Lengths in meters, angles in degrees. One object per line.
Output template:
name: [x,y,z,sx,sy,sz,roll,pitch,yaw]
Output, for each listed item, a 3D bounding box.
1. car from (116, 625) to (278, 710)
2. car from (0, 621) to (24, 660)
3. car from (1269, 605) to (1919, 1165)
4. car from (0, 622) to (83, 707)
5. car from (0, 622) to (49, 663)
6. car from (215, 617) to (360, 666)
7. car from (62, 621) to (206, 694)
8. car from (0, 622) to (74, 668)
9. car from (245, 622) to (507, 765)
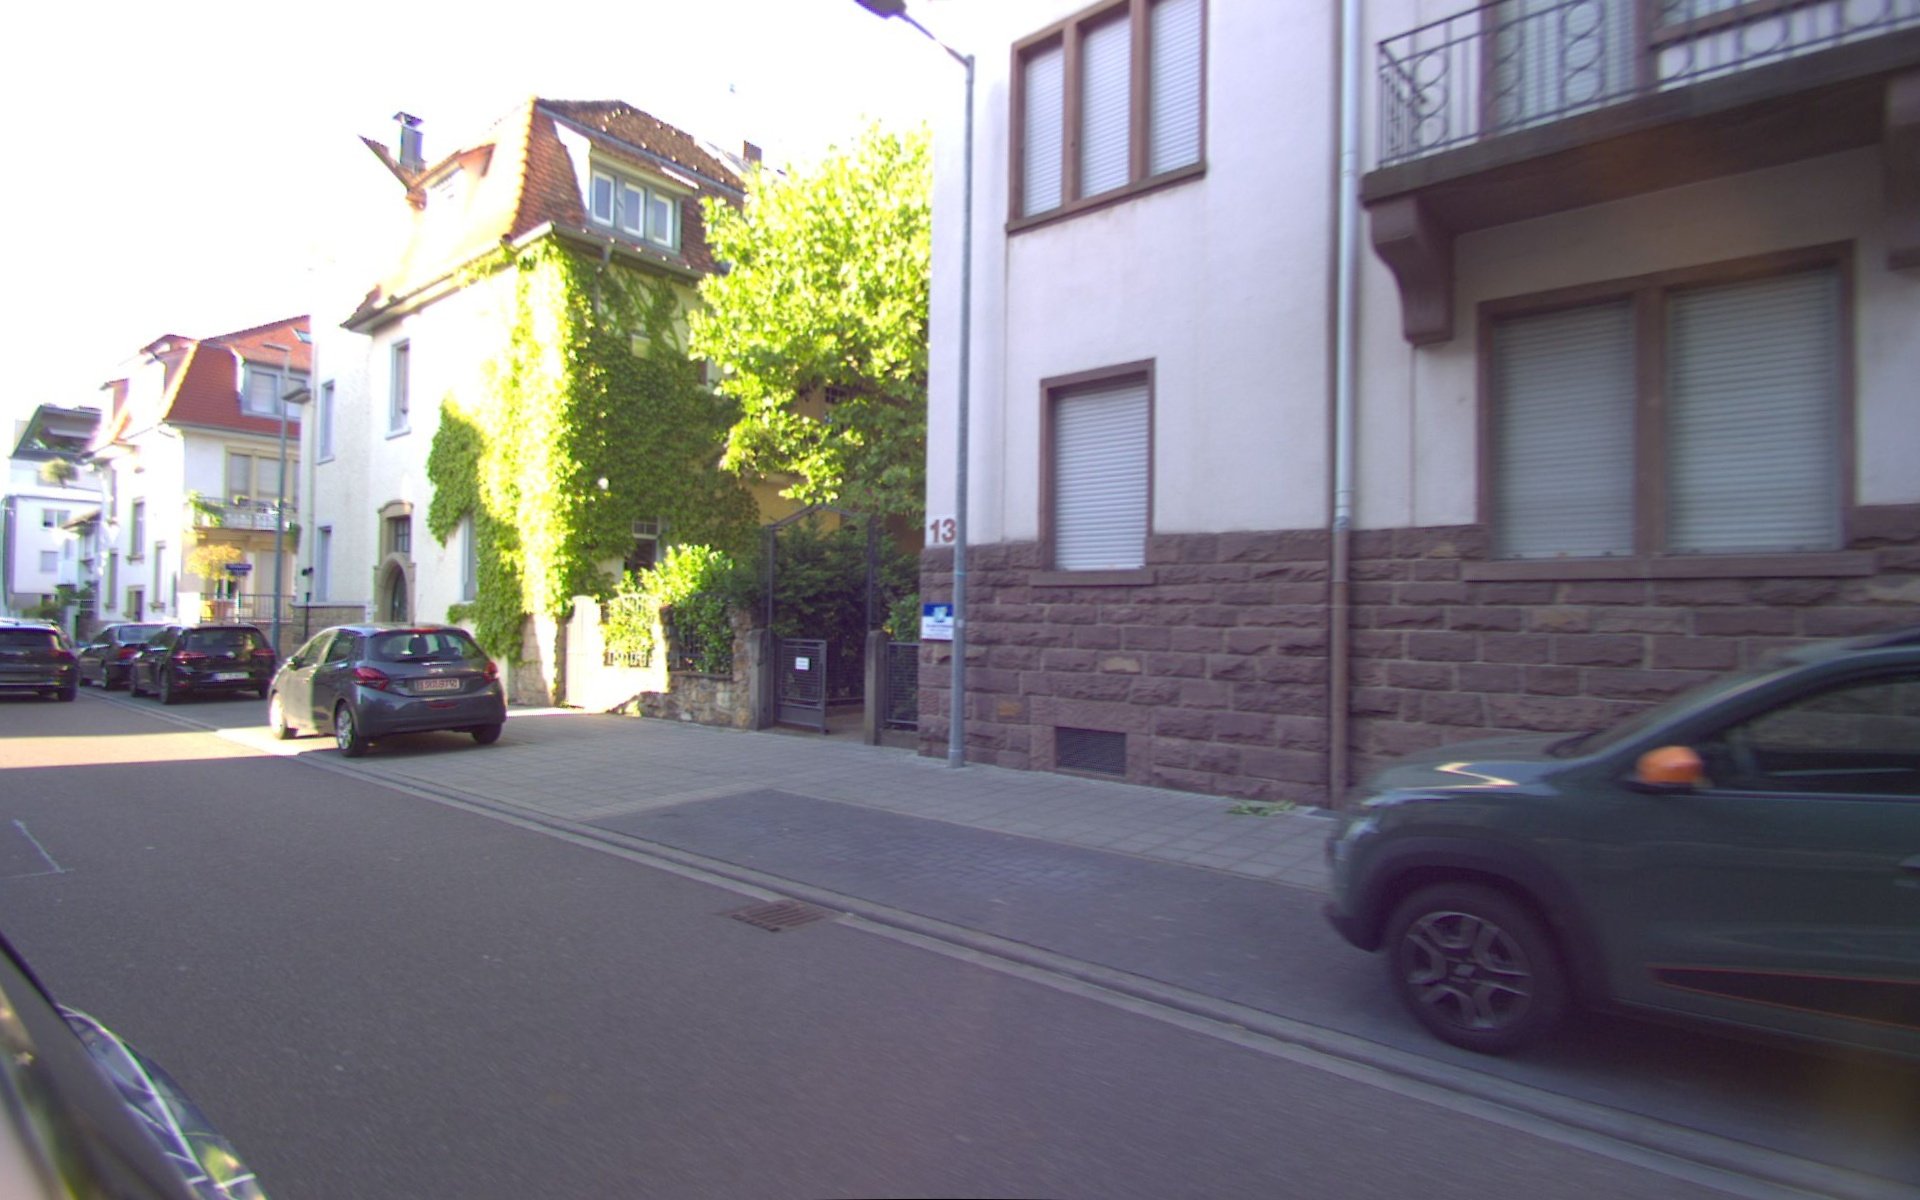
car: [-14.614,1.202,19.305,4.165,1.426,1.636,-1,-1,41]
car: [-39.756,1.634,41.512,3.703,1.532,1.565,-1,-1,40]
car: [3.145,0.766,3.293,3.763,1.497,1.636,-1,-1,42]
car: [-17.918,1.154,18.905,3.998,1.460,1.753,-1,-3,41]
car: [-36.402,1.587,38.778,3.701,1.488,1.566,-1,-1,38]
car: [-22.711,1.411,34.277,1.758,1.571,3.727,-3,-3,37]
car: [-18.702,1.221,22.846,4.629,1.481,1.692,-1,-1,40]
car: [-32.367,1.518,35.319,4.629,1.465,1.636,-1,-1,42]
car: [-7.277,1.011,12.461,4.003,1.458,1.636,-1,-1,42]
